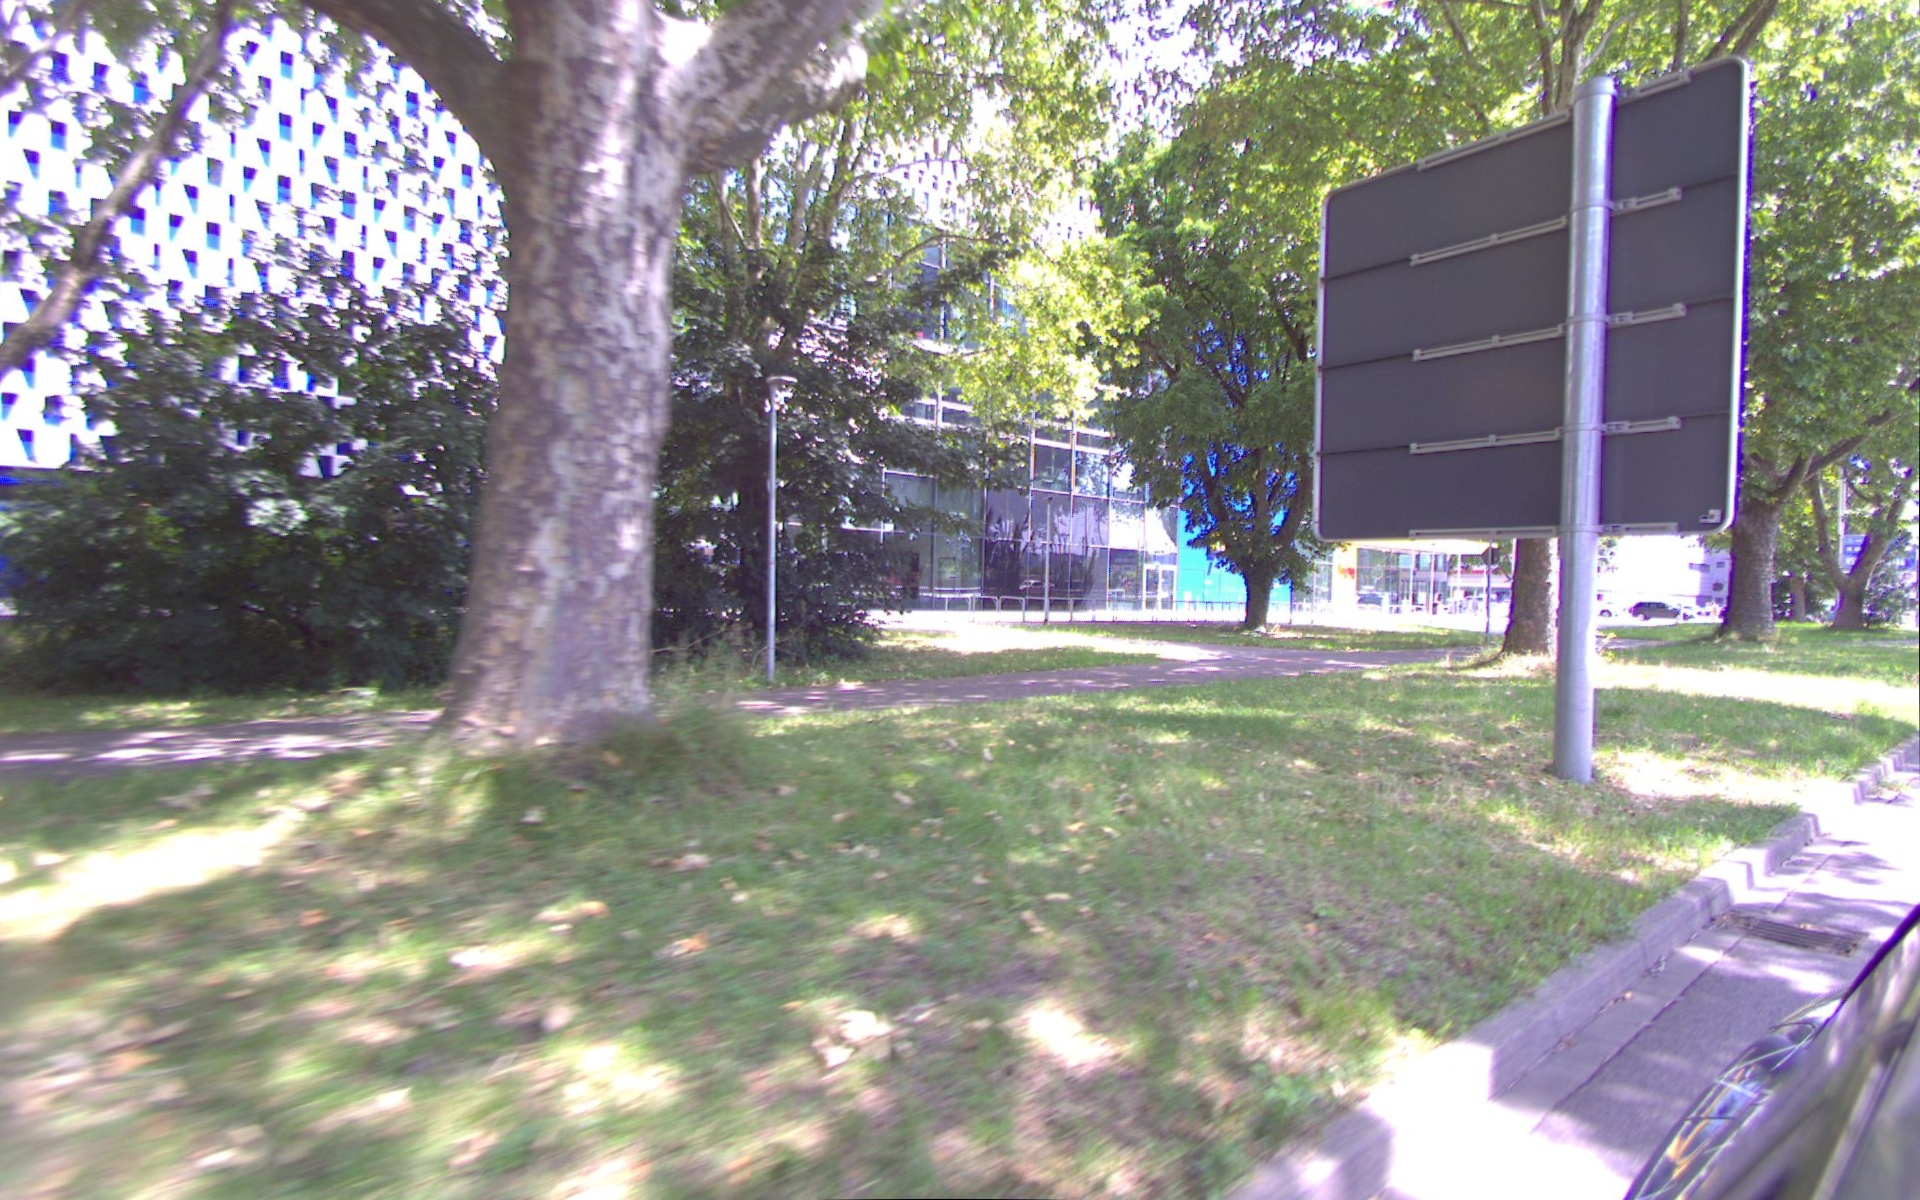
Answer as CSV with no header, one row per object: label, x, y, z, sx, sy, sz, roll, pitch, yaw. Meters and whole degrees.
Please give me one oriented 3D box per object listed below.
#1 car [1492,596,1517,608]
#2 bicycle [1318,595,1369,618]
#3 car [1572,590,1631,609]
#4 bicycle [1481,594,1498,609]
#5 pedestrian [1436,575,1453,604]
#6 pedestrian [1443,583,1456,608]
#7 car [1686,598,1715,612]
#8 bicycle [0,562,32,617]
car,72.812,0.301,135.304,3.934,1.565,1.850,0,0,-44
bicycle,17.762,0.290,46.933,0.854,0.981,2.062,0,1,-44
car,57.693,-0.056,91.079,1.966,1.660,4.075,0,1,-42
bicycle,40.191,0.117,76.762,0.798,1.159,2.401,1,1,36
pedestrian,33.531,-0.726,70.050,0.718,2.039,0.801,1,0,-28
pedestrian,33.758,-0.331,69.770,0.574,1.693,0.609,0,0,-24
car,95.959,0.691,131.137,4.421,1.739,1.998,-1,0,-38
bicycle,-17.887,-0.203,18.842,0.854,0.981,2.062,0,1,-44
